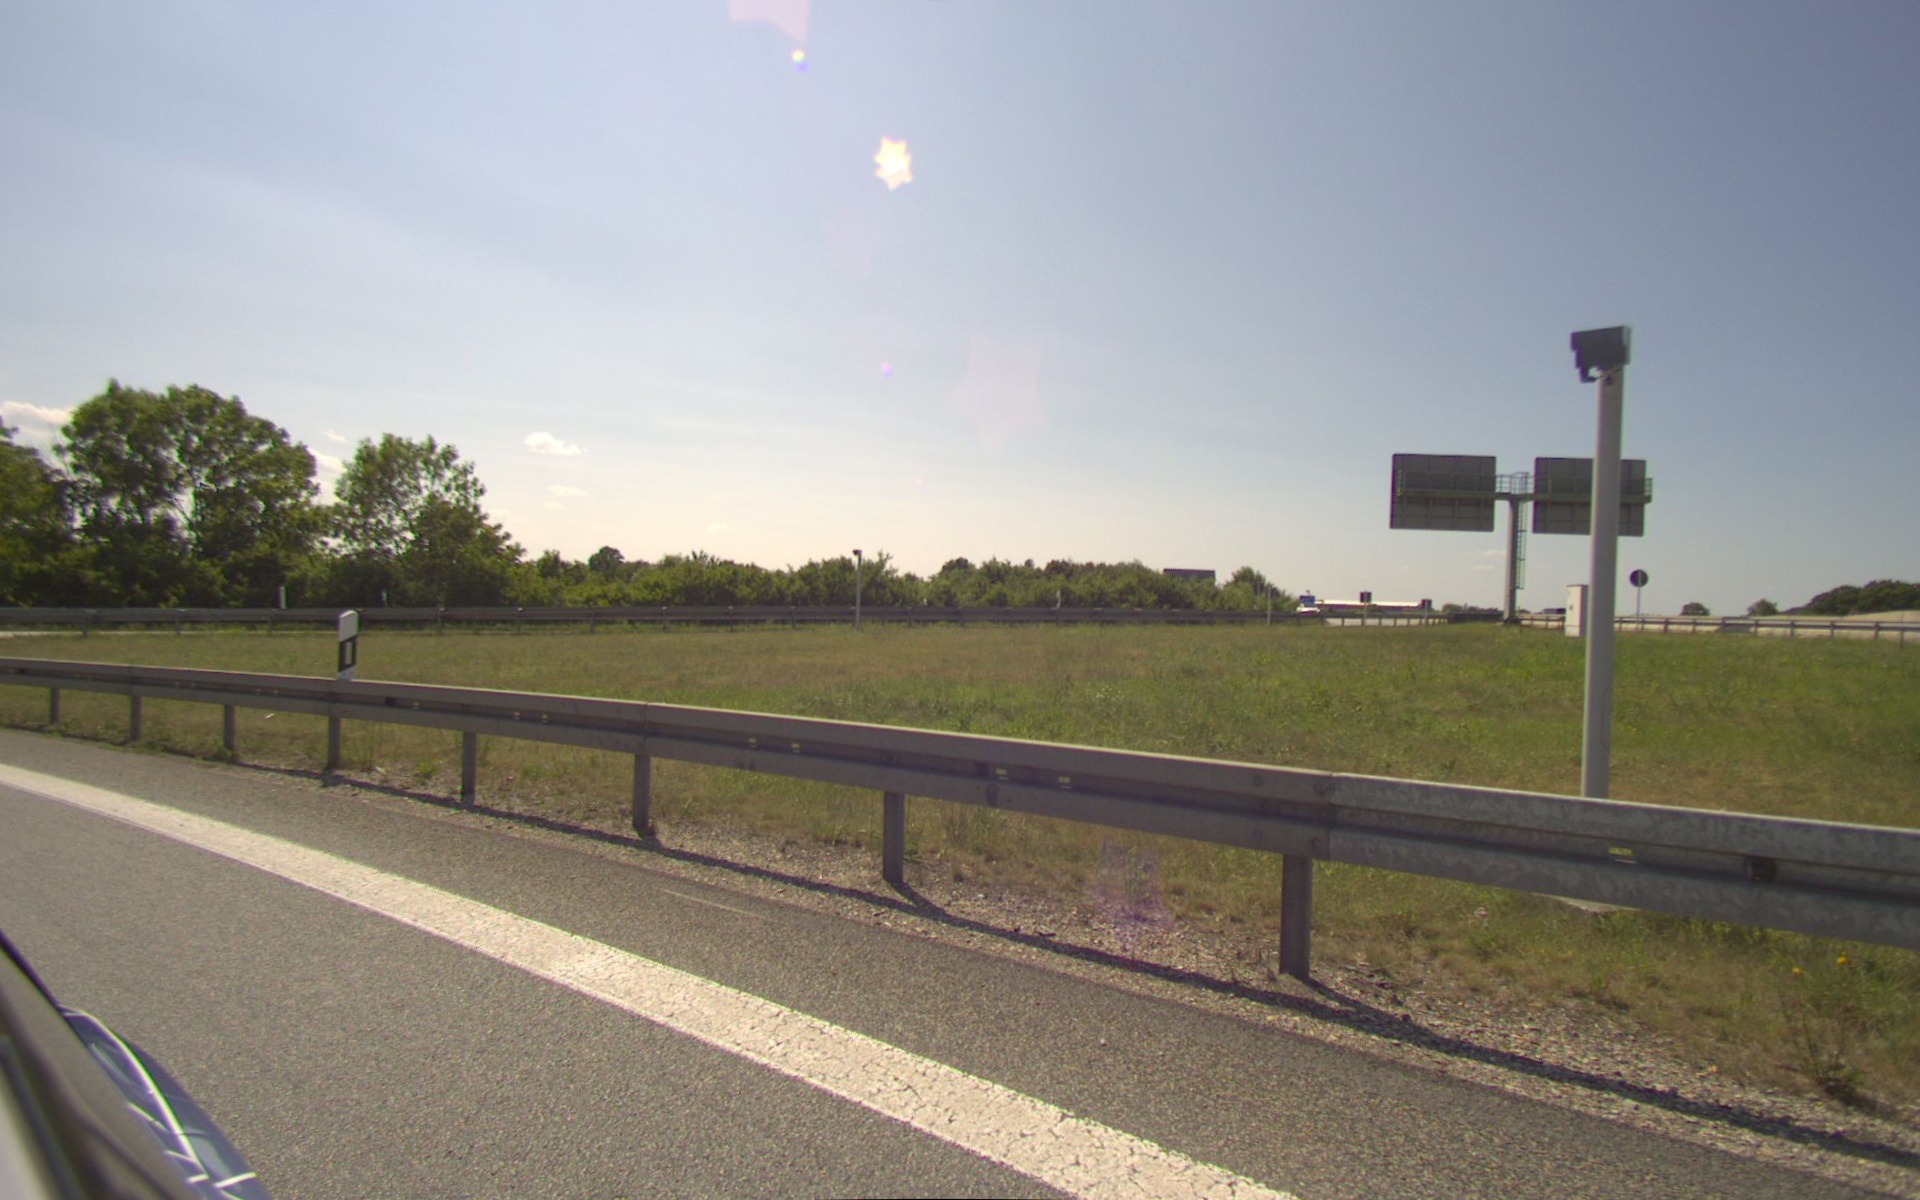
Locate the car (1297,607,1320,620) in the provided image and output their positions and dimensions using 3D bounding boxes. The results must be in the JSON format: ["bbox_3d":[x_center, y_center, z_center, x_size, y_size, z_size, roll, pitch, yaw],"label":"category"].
[{"bbox_3d":[40.912,1.579,118.679,1.990,1.519,4.260,-1,0,27],"label":"car"}]
